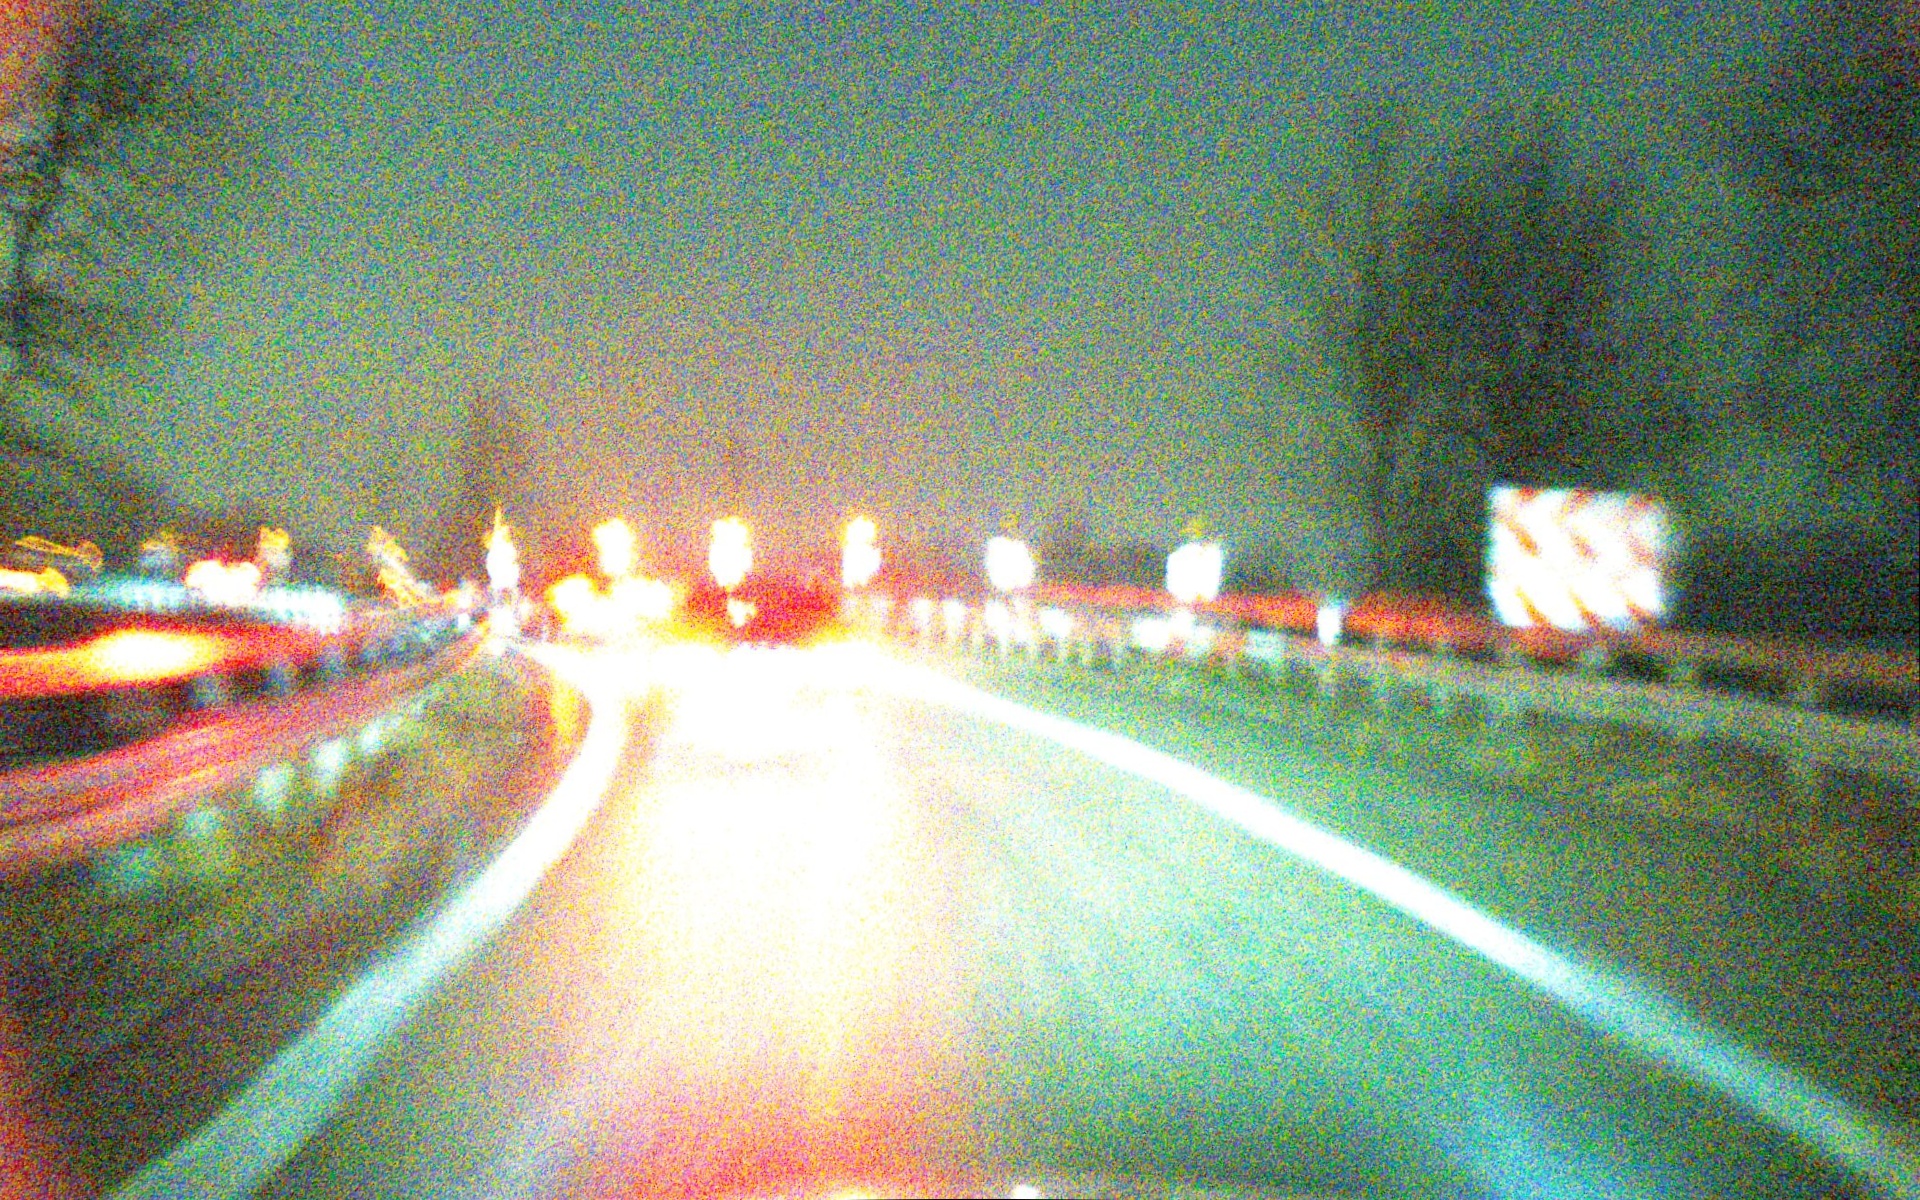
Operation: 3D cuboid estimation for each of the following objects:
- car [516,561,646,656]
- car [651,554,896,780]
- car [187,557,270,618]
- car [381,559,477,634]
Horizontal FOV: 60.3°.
[{"bbox_3d":[-7.511,0.107,32.537,1.869,1.750,4.018,0,1,-22],"label":"car"},{"bbox_3d":[-1.711,0.441,14.405,1.826,1.676,4.060,0,1,-9],"label":"car"},{"bbox_3d":[-25.539,-0.466,57.698,1.880,2.032,3.996,-2,2,-35],"label":"car"},{"bbox_3d":[-15.558,-0.139,48.343,1.876,2.076,4.004,0,1,-30],"label":"car"}]
